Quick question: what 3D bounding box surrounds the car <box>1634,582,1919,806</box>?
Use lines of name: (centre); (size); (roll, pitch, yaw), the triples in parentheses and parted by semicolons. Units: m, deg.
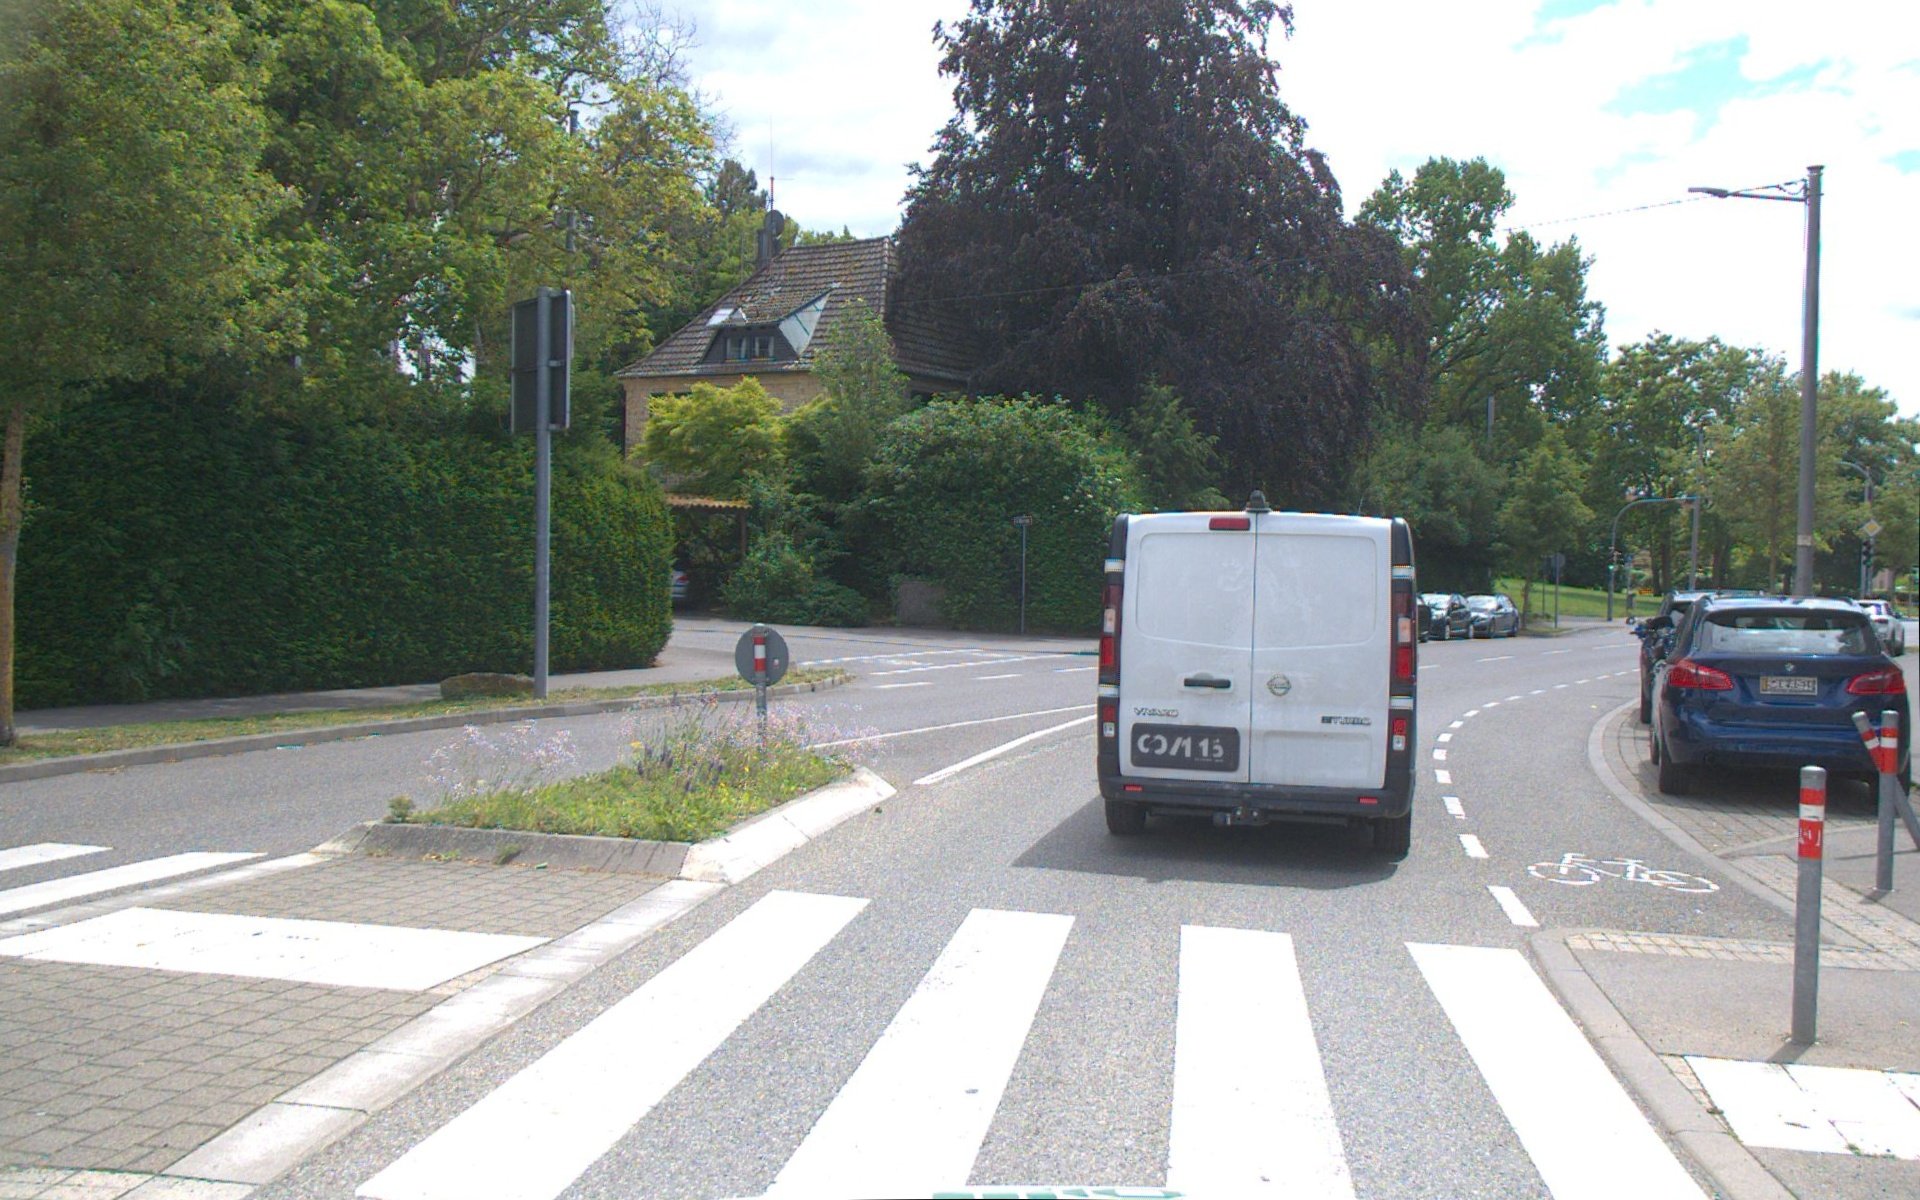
car: (6.901, 0.674, 14.283); (1.877, 1.606, 4.430); (0, 0, 21)

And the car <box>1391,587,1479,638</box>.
car: (14.906, 0.386, 51.797); (1.568, 1.475, 3.584); (4, 2, 34)

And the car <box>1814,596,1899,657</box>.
car: (25.217, 0.727, 46.450); (1.706, 1.645, 4.373); (-1, -1, 34)

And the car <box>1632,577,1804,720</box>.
car: (9.914, 0.558, 21.811); (1.841, 1.650, 4.845); (0, 0, 23)

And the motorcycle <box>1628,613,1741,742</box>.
motorcycle: (8.060, 0.823, 18.504); (1.049, 1.328, 2.260); (-1, 0, 21)

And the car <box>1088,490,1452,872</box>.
car: (2.262, 0.397, 11.355); (1.897, 1.995, 4.837); (2, 1, 14)

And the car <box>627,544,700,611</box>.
car: (-7.502, -0.610, 42.064); (1.691, 1.536, 3.993); (2, 2, -9)

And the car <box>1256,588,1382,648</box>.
car: (9.444, 0.459, 43.242); (1.632, 1.402, 4.552); (4, 2, 33)

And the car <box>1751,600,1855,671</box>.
car: (19.243, 0.773, 37.674); (1.732, 1.503, 4.924); (-1, -1, 31)

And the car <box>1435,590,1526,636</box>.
car: (17.426, 0.422, 55.274); (1.665, 1.389, 4.673); (4, 2, 33)

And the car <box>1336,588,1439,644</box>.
car: (12.361, 0.446, 47.654); (1.620, 1.475, 4.093); (3, 2, 33)
